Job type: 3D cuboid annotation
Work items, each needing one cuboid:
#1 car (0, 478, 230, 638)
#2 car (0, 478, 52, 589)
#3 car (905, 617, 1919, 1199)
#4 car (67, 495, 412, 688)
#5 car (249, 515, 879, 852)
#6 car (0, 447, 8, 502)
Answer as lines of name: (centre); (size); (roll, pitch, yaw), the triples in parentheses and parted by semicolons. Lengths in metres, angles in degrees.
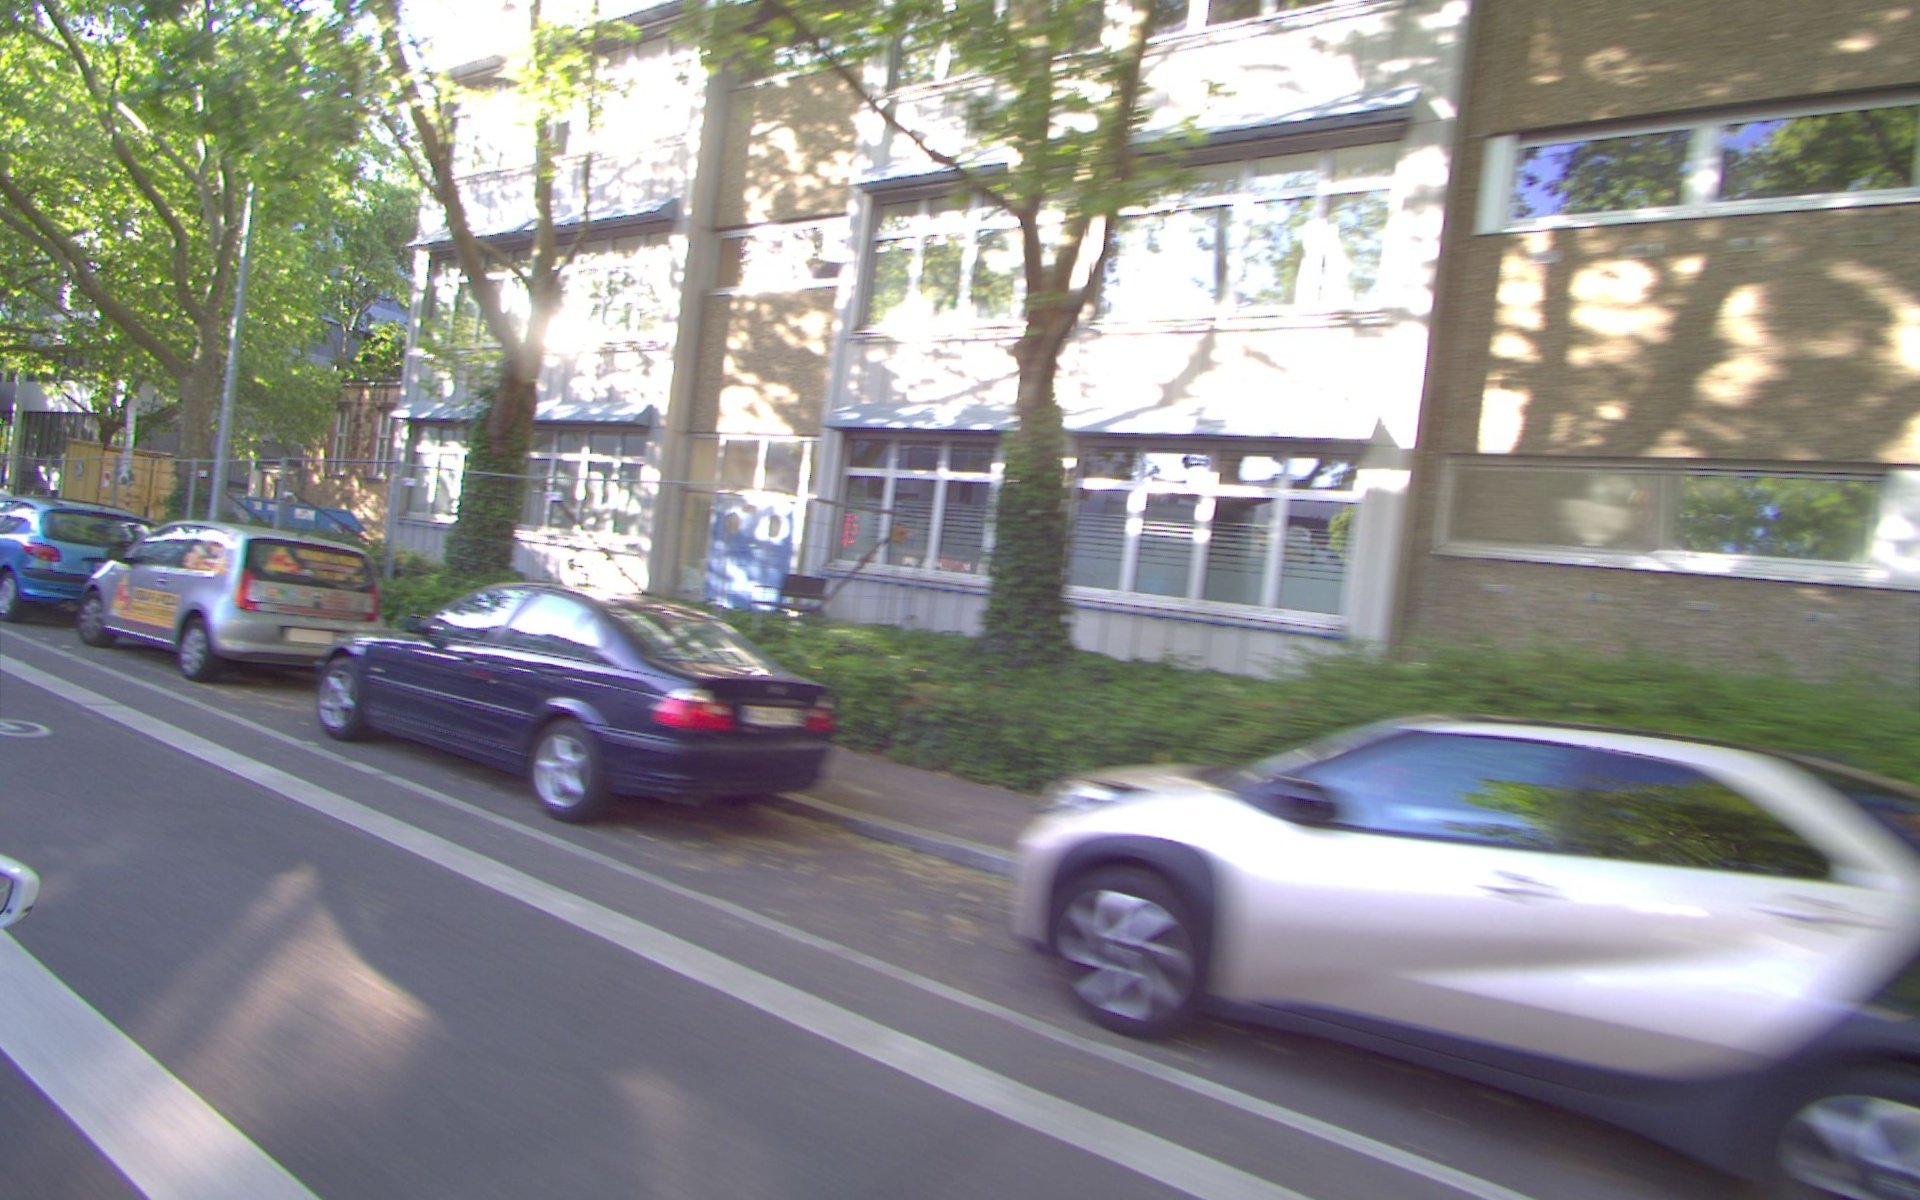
car: (-11.290, -0.625, 12.607); (3.861, 1.527, 1.861); (8, -2, 29)
car: (-15.280, -1.199, 14.953); (3.698, 1.502, 1.641); (8, -2, 33)
car: (2.116, 1.167, 4.184); (4.225, 1.540, 1.859); (7, -1, 31)
car: (-7.722, -0.110, 10.735); (3.434, 1.492, 1.617); (8, -2, 31)
car: (-3.066, 0.460, 7.501); (4.522, 1.540, 1.859); (8, -2, 31)
car: (-19.128, -2.000, 17.579); (5.083, 2.017, 2.083); (7, -2, 30)
